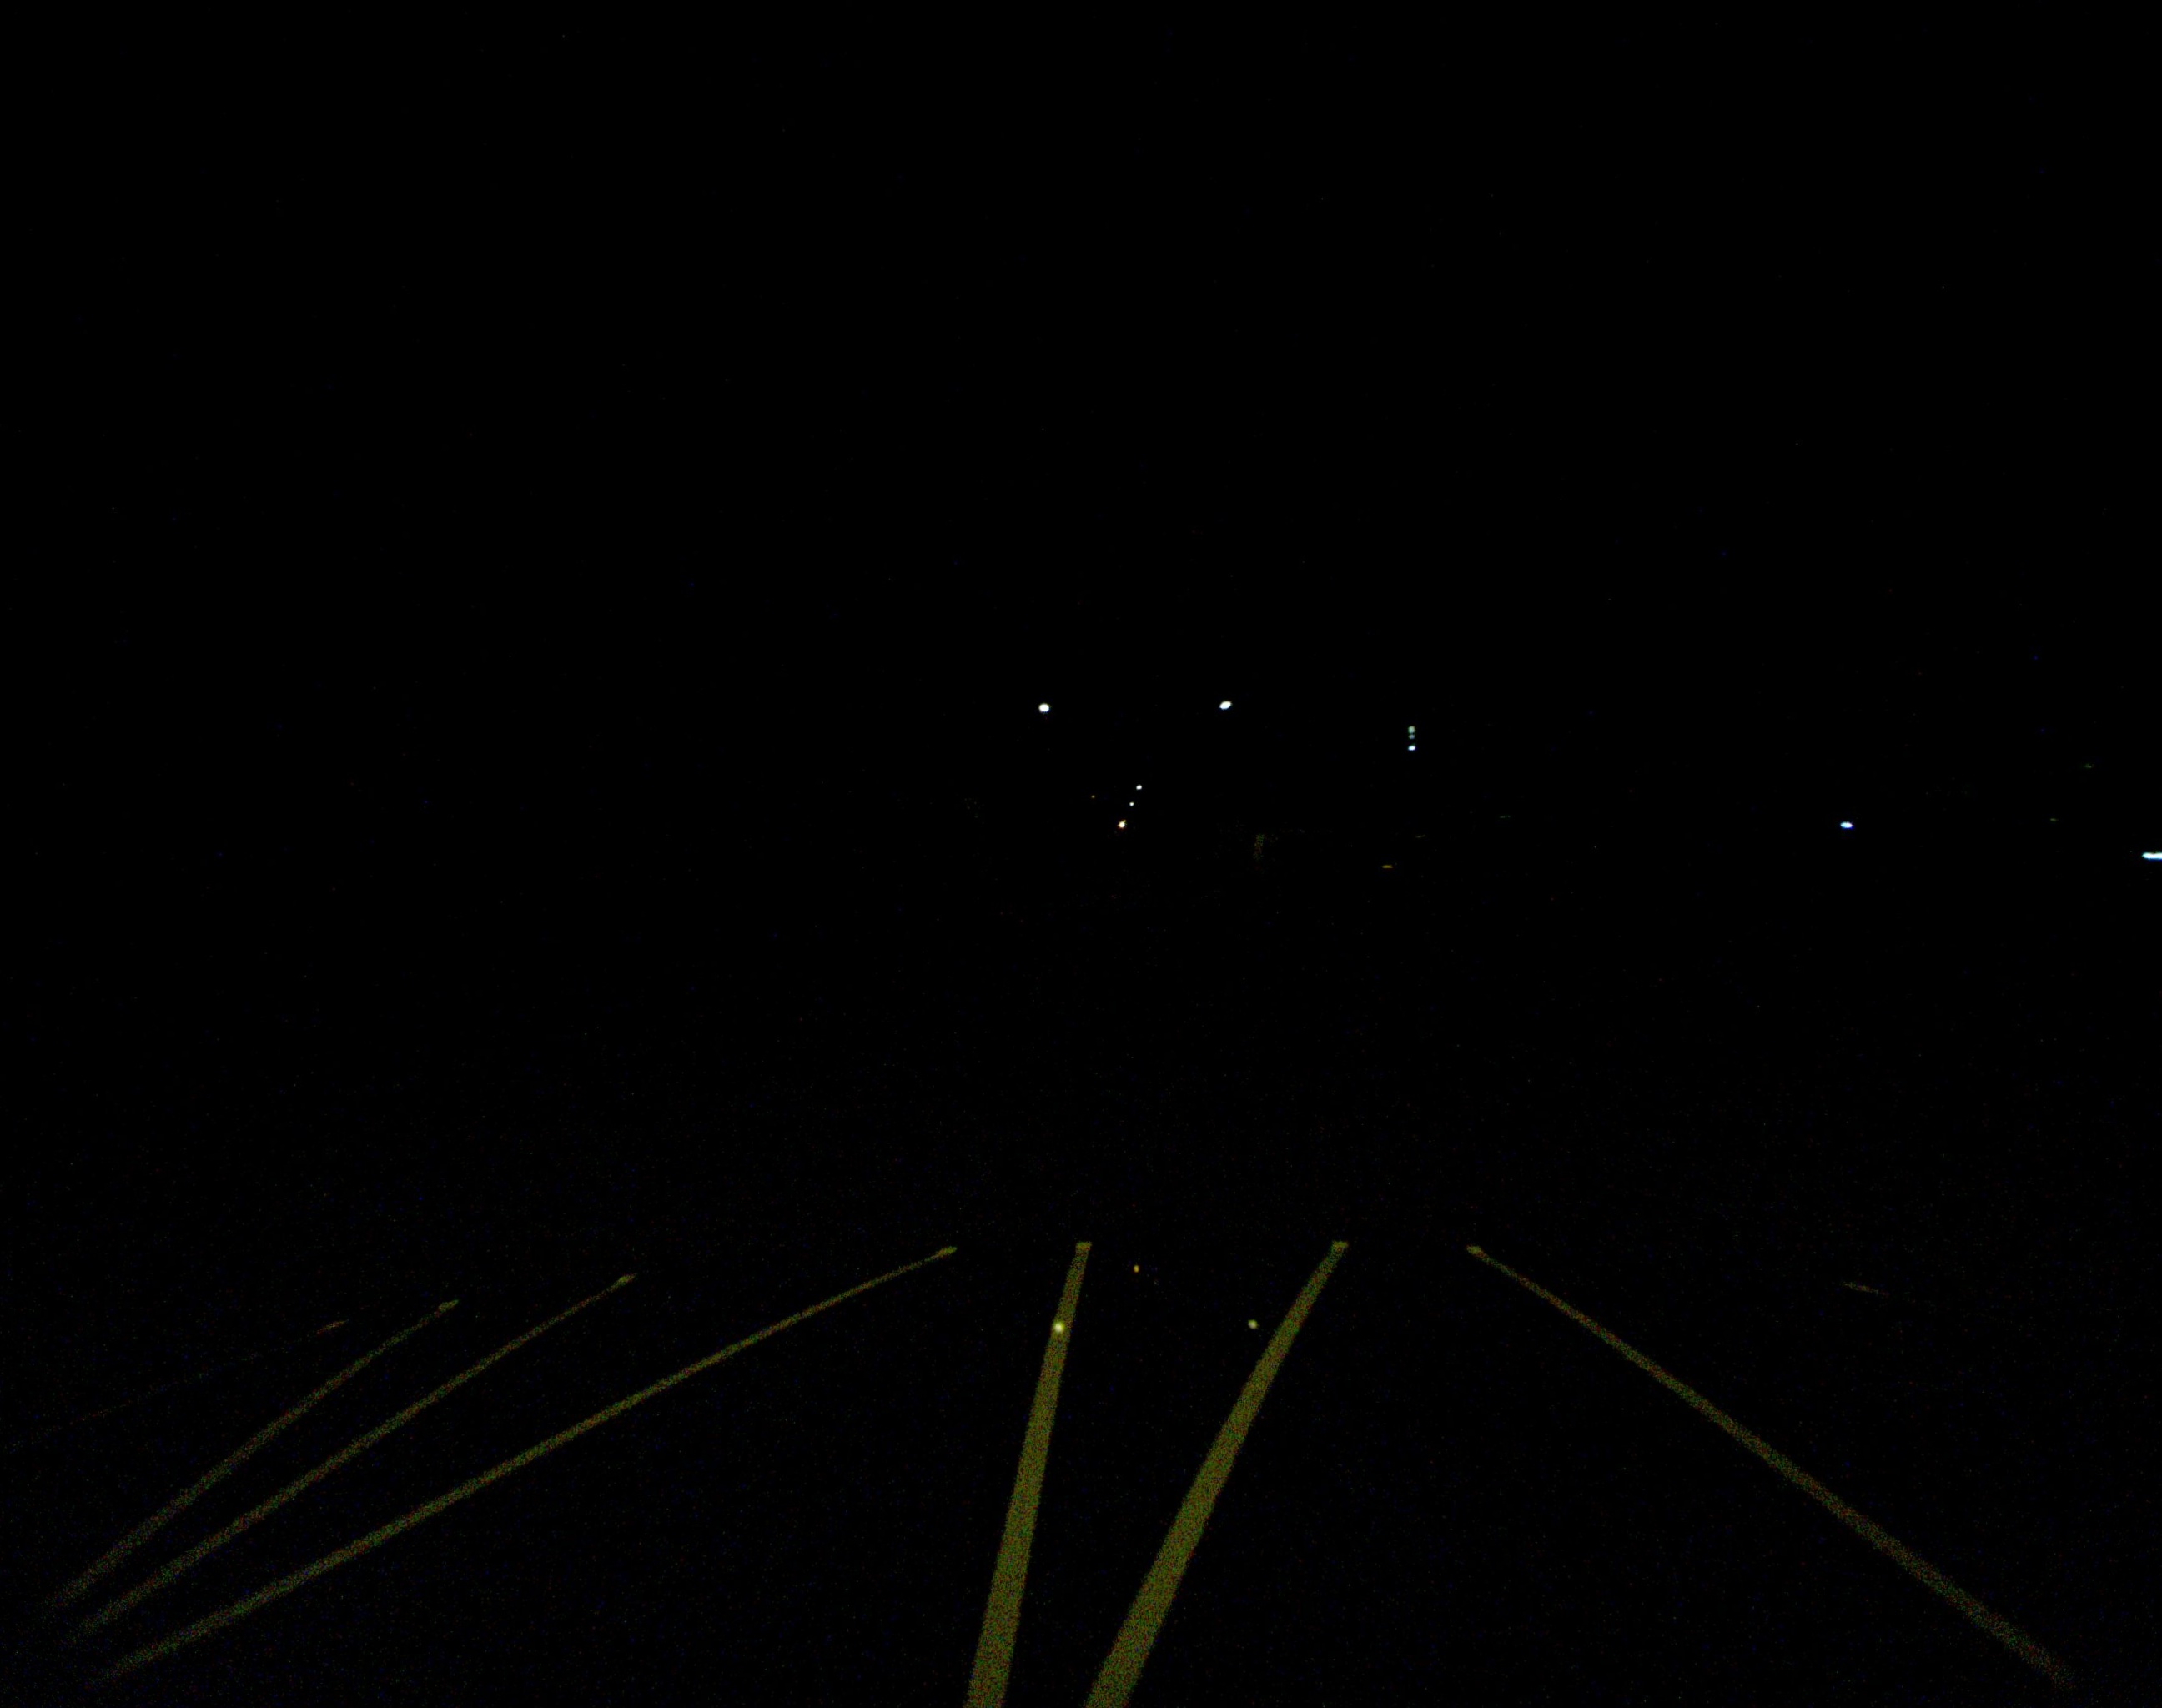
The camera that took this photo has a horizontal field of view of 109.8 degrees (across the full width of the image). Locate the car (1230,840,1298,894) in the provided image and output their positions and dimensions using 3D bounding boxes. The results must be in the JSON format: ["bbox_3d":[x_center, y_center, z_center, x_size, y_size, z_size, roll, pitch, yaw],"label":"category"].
[{"bbox_3d":[9.150,0.597,38.535,1.998,2.429,5.744,-3,0,1],"label":"car"}]

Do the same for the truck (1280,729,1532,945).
[{"bbox_3d":[8.162,-0.456,21.613,2.643,4.290,12.825,0,1,5],"label":"truck"}]

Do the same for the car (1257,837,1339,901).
[{"bbox_3d":[8.599,0.551,30.543,2.144,2.299,4.469,-2,0,4],"label":"car"}]

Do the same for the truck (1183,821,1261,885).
[{"bbox_3d":[8.945,-0.046,49.628,2.829,3.610,10.399,-3,0,-1],"label":"truck"}]

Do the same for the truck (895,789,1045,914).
[{"bbox_3d":[-3.788,-0.108,30.155,2.514,3.815,12.664,-2,0,7],"label":"truck"}]
